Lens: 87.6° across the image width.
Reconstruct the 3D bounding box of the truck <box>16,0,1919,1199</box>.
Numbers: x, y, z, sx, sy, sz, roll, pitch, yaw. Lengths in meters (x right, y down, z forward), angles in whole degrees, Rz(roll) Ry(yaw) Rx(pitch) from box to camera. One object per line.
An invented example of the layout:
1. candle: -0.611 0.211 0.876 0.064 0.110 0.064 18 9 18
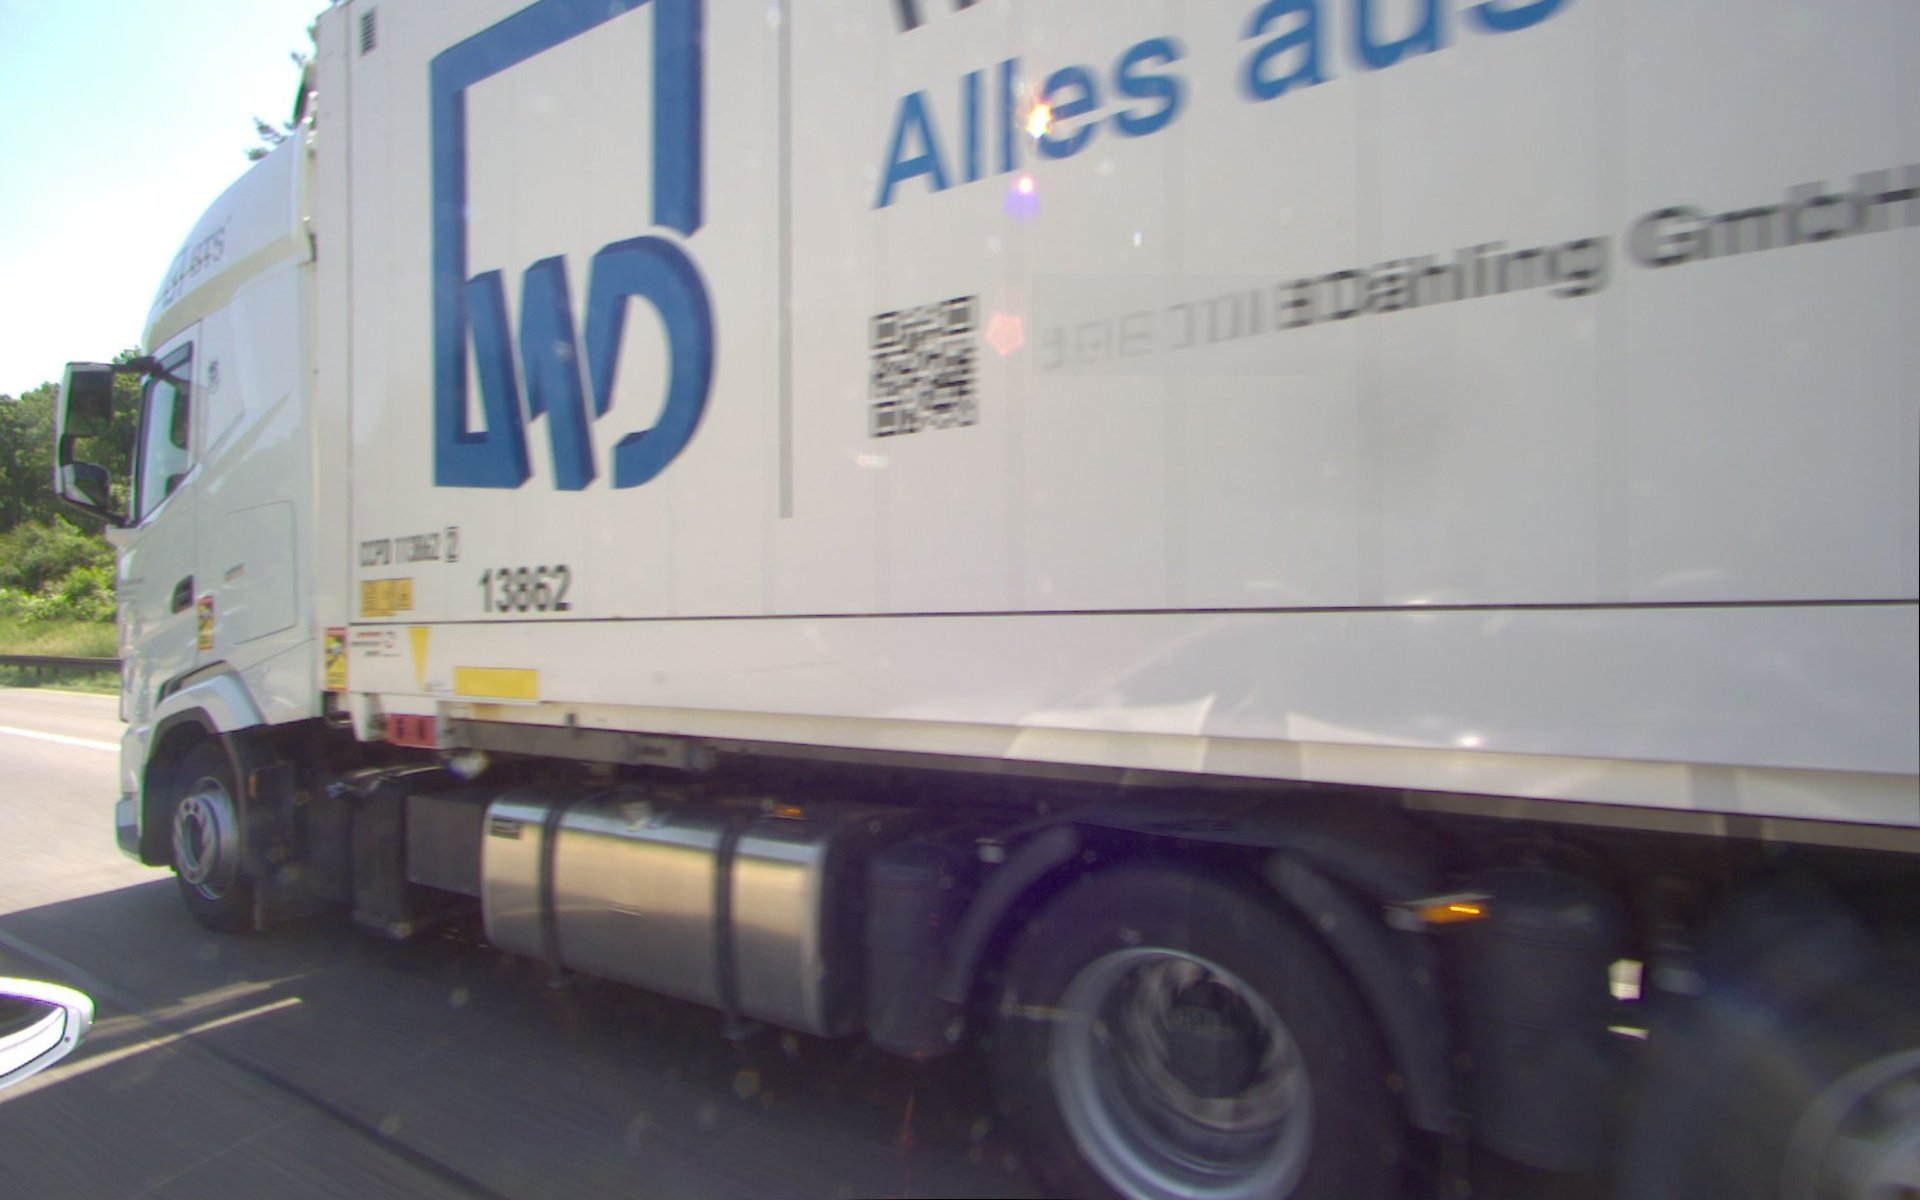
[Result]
1. truck: -0.406 -0.528 4.173 10.473 4.112 2.675 0 -1 33
